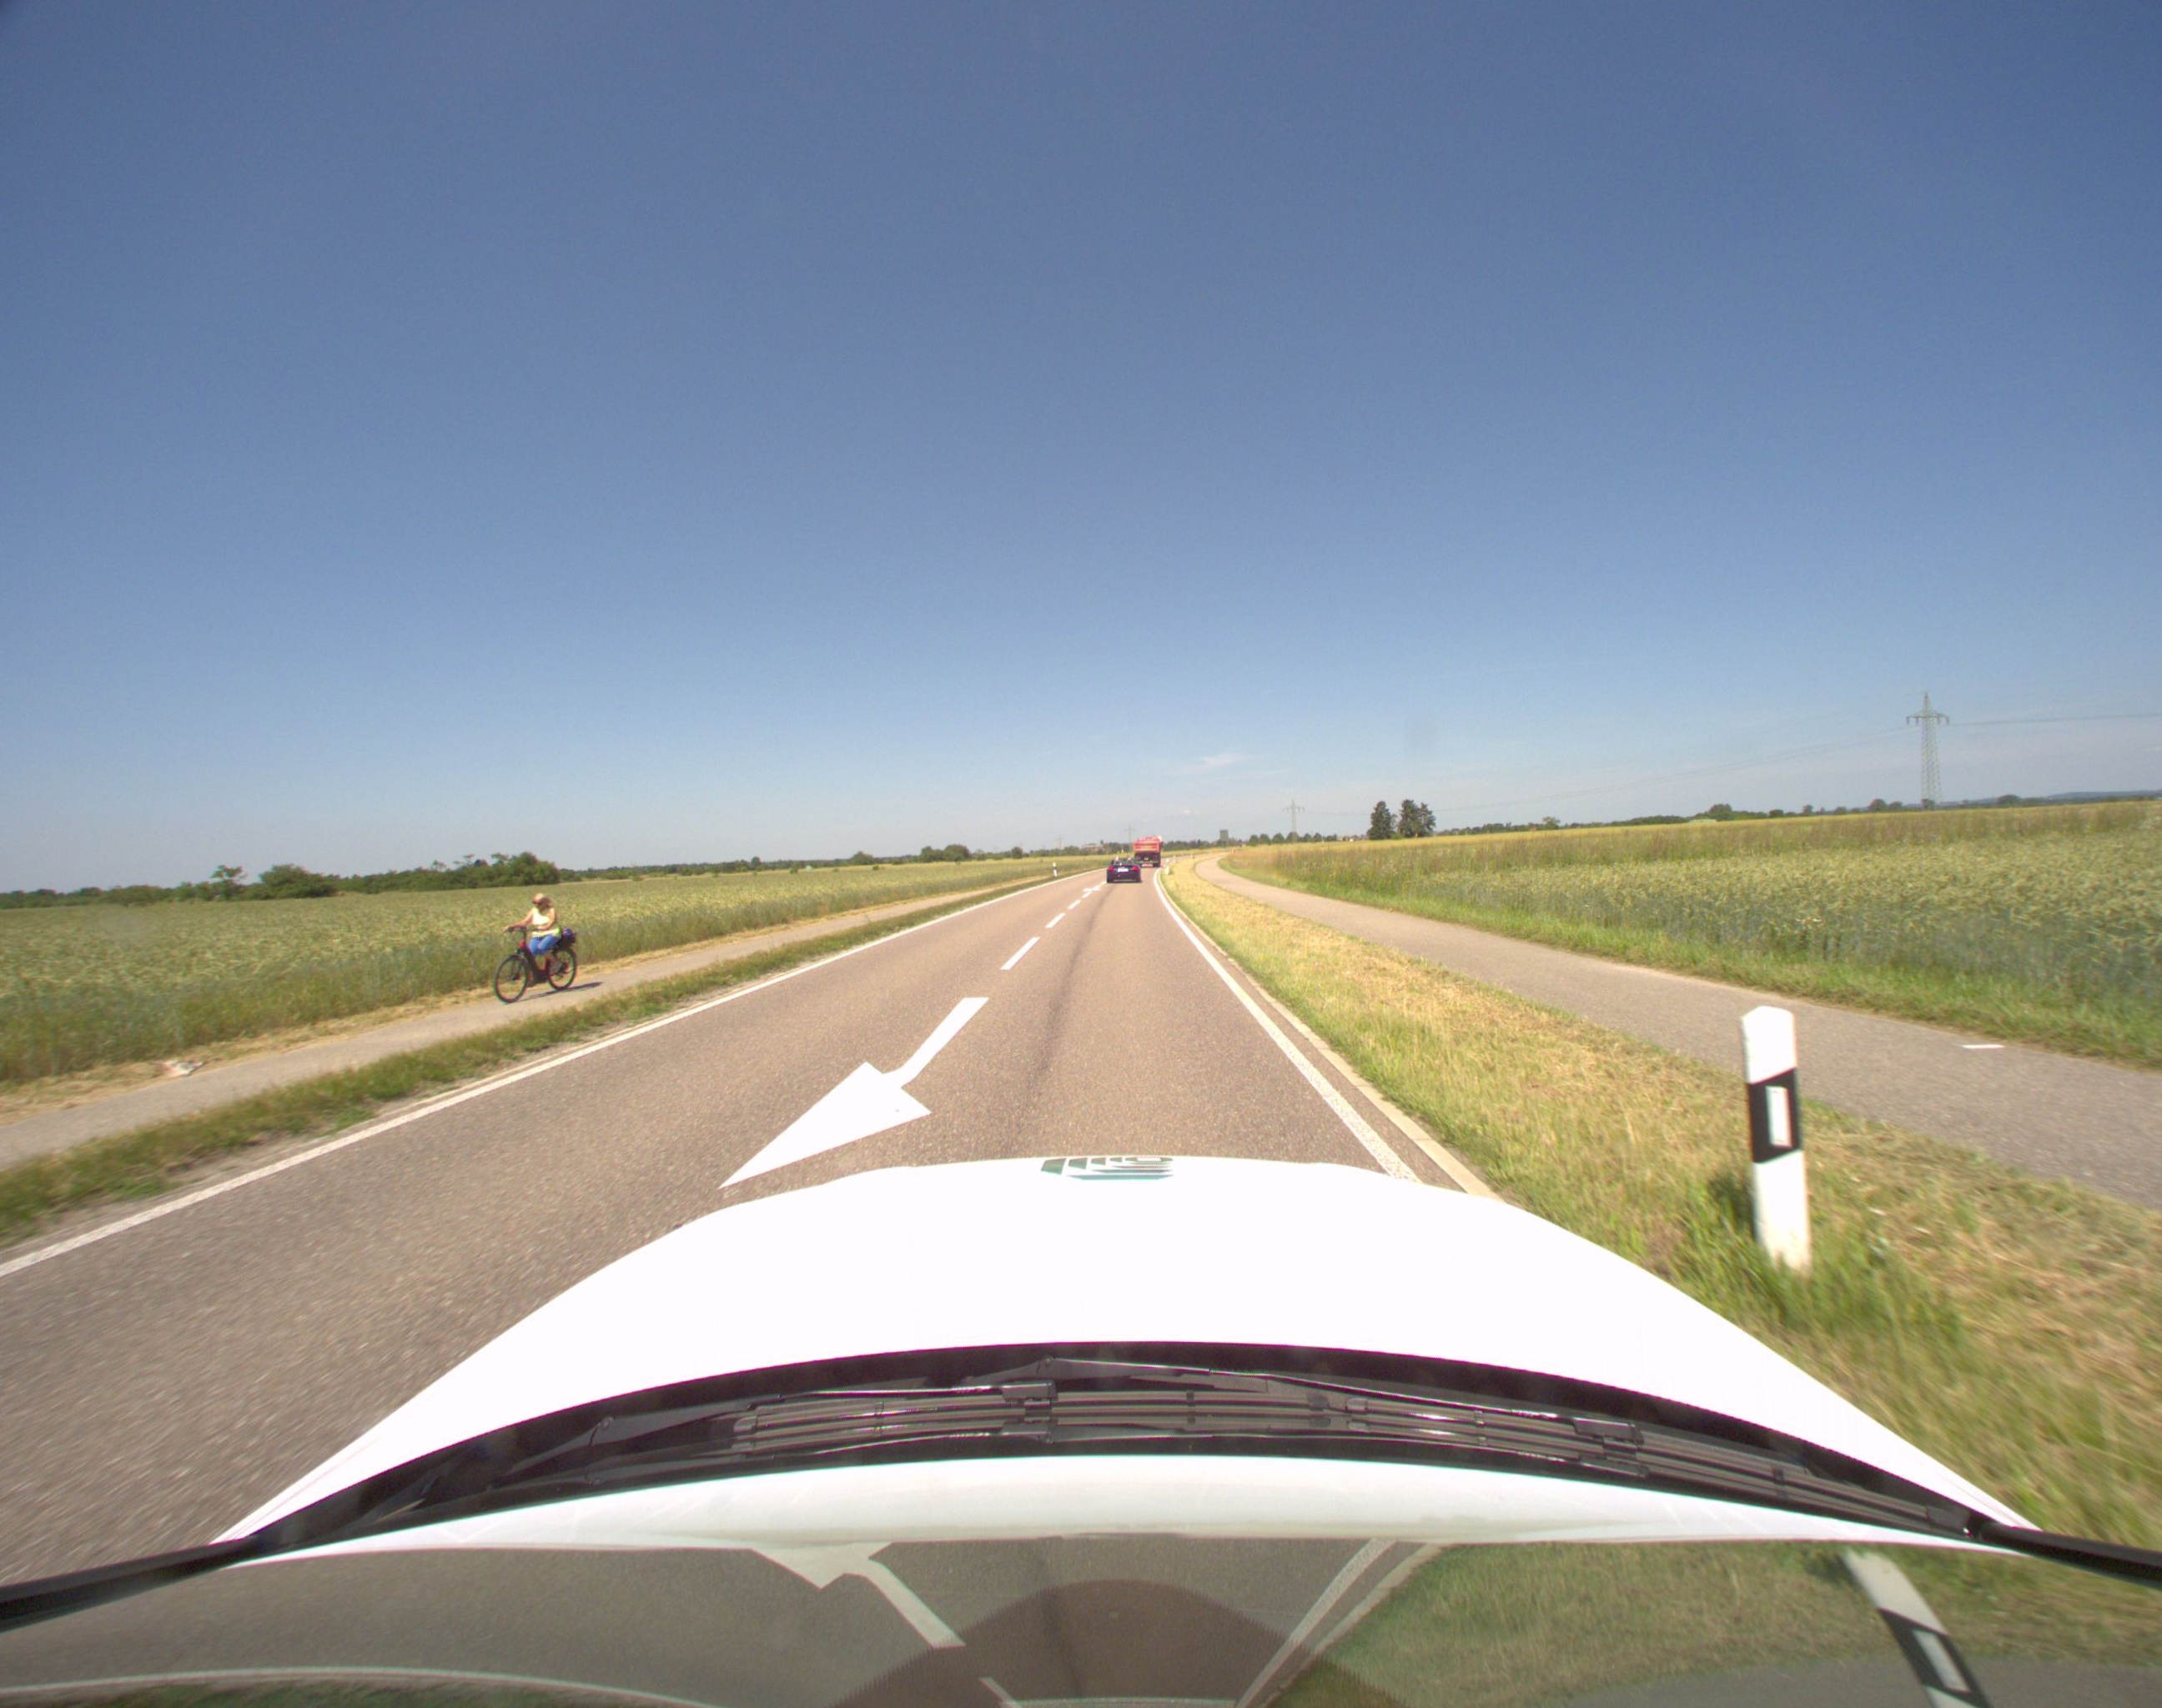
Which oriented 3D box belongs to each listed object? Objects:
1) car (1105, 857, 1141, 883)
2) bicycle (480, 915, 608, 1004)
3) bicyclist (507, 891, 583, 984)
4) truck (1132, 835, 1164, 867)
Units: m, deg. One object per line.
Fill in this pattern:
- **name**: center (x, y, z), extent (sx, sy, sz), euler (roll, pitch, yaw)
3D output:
- **car**: center (2.289, 0.816, 43.173), extent (1.735, 1.280, 4.006), euler (-1, 0, 5)
- **bicycle**: center (-8.816, 1.694, 13.482), extent (0.691, 1.176, 1.965), euler (-3, 0, 3)
- **bicyclist**: center (-8.822, 1.346, 13.437), extent (0.661, 1.438, 0.823), euler (-2, -1, 1)
- **truck**: center (6.876, -0.267, 83.124), extent (2.923, 3.089, 7.209), euler (-2, -1, 6)
